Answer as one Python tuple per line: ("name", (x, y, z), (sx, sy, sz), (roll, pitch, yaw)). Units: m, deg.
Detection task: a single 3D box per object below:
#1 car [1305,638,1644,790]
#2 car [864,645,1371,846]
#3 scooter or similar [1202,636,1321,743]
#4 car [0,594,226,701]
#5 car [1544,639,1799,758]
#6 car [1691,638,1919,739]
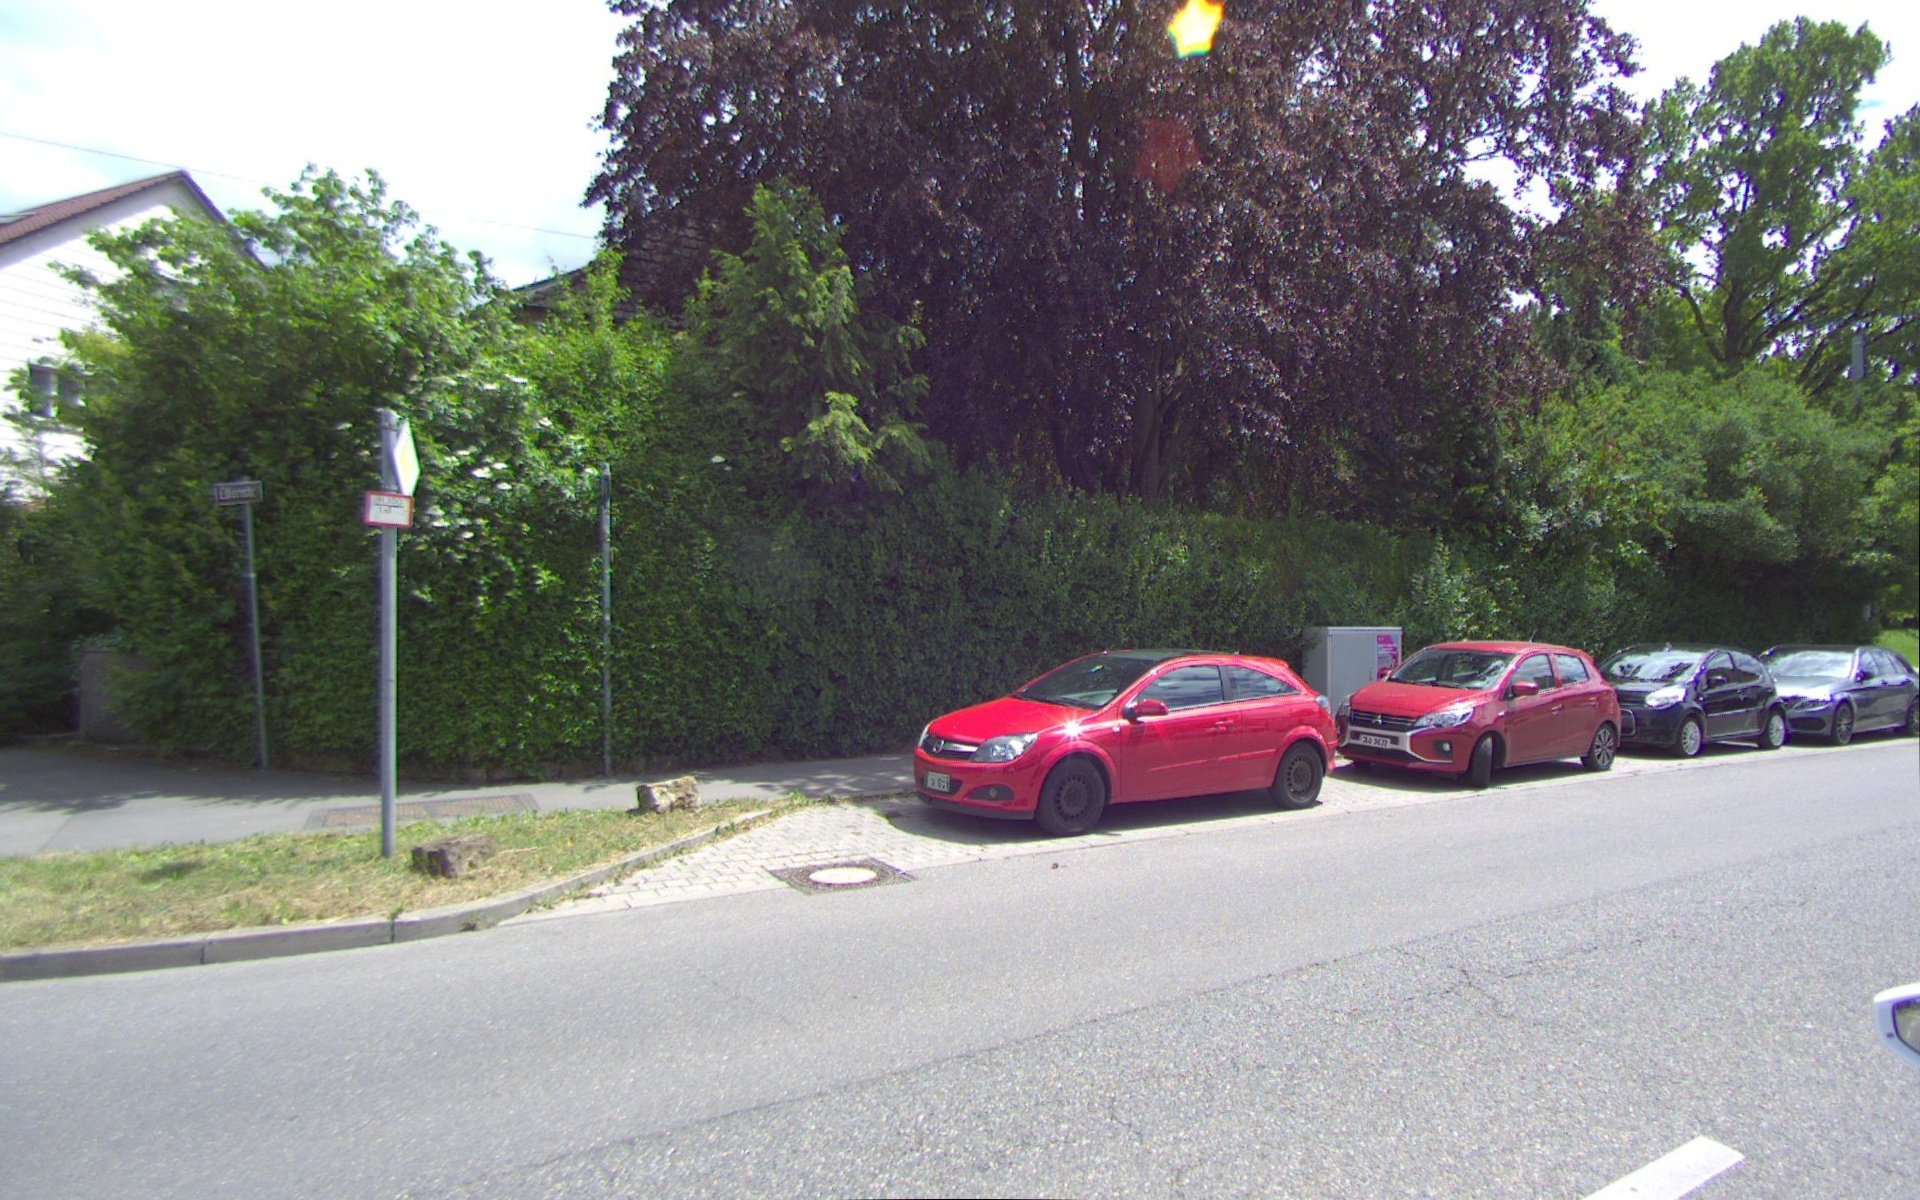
("car", (6.063, 1.205, 11.724), (4.058, 1.470, 1.641), (2, -1, -31))
("car", (1.530, 1.135, 9.089), (4.512, 1.396, 1.653), (2, -1, -30))
("scooter or similar", (4.266, 1.229, 14.197), (1.629, 1.431, 0.667), (1, -1, -29))
("car", (-14.172, 0.697, 15.805), (1.694, 1.530, 4.001), (0, -1, 17))
("car", (10.142, 1.317, 14.287), (3.552, 1.470, 1.588), (2, -1, -29))
("car", (13.913, 1.353, 16.261), (4.632, 1.383, 1.686), (2, -1, -31))
